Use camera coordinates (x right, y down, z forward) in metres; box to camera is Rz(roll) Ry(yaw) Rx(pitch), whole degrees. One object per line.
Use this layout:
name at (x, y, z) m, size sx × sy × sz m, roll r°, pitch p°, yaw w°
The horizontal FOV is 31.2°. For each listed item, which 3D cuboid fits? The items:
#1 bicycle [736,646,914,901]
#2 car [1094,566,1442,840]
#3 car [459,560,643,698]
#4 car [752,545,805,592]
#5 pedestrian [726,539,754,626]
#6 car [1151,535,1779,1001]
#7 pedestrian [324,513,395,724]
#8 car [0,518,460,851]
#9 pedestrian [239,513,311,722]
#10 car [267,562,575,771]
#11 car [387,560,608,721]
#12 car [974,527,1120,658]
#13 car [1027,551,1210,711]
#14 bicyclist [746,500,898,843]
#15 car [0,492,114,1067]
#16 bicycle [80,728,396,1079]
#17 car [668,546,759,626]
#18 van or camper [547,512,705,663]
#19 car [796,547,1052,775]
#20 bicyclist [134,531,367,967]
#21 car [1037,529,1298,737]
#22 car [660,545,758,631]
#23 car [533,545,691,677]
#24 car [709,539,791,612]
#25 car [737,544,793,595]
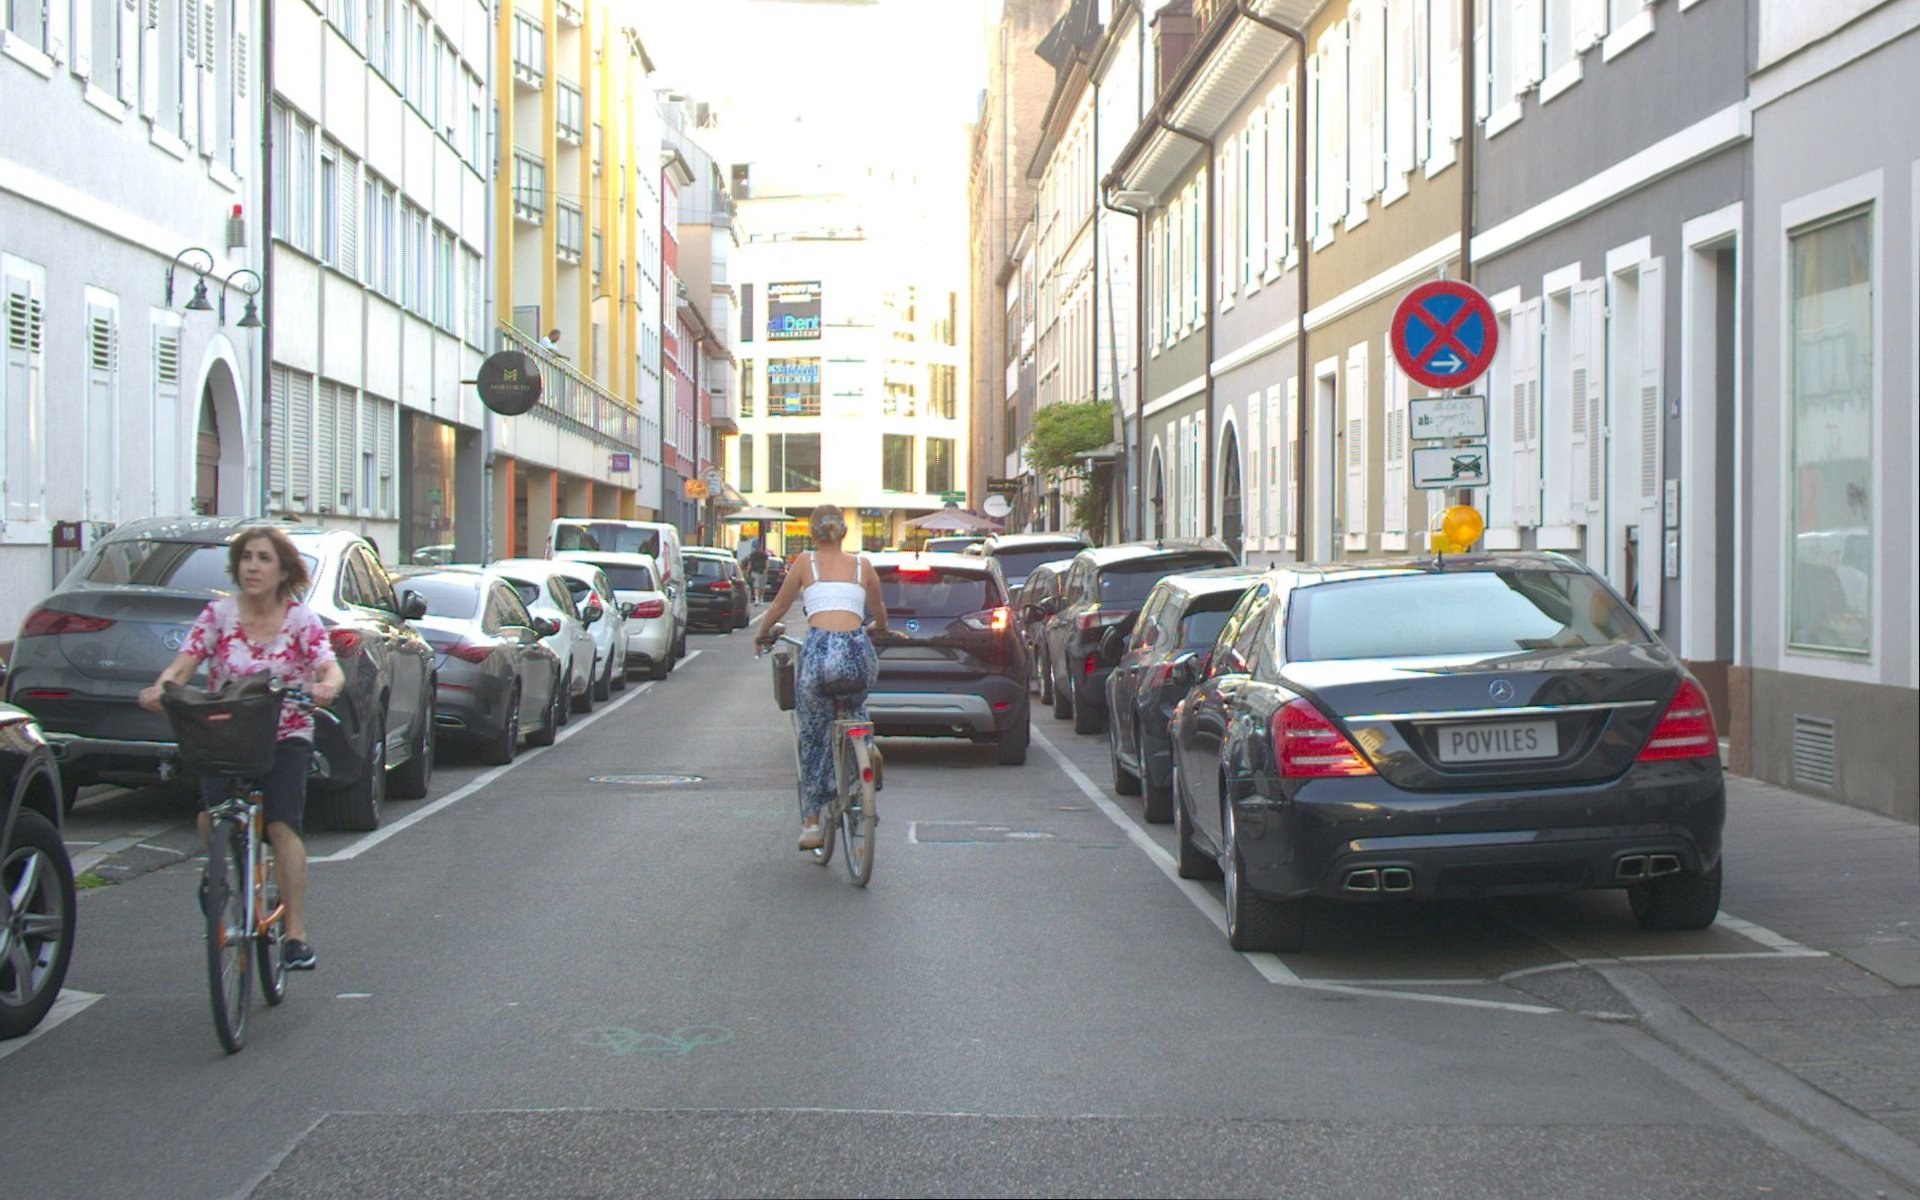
bicycle at (-0.657, 0.784, 16.200) m, size 0.613 × 1.078 × 1.810 m, roll 0°, pitch 1°, yaw -9°
car at (1.815, 0.561, 21.384) m, size 1.676 × 1.481 × 4.000 m, roll 1°, pitch 1°, yaw -1°
car at (-4.498, 0.291, 38.198) m, size 1.653 × 1.406 × 3.606 m, roll 1°, pitch 1°, yaw -1°
car at (-6.208, -1.084, 117.829) m, size 1.653 × 1.555 × 3.606 m, roll 1°, pitch 1°, yaw -1°
pedestrian at (-4.453, -0.364, 69.528) m, size 0.553 × 1.746 × 0.568 m, roll 1°, pitch 1°, yaw -4°
car at (1.903, 0.553, 14.529) m, size 1.819 × 1.525 × 5.071 m, roll -3°, pitch 1°, yaw 0°
pedestrian at (-5.775, 0.177, 33.081) m, size 0.610 × 2.007 × 0.450 m, roll 1°, pitch 1°, yaw -4°
car at (-4.187, 0.409, 20.266) m, size 1.997 × 1.701 × 4.536 m, roll 1°, pitch 1°, yaw -3°
pedestrian at (-6.616, 0.166, 33.208) m, size 0.610 × 2.007 × 0.450 m, roll 1°, pitch 1°, yaw -4°
car at (-4.107, 0.456, 26.833) m, size 1.918 × 1.429 × 4.294 m, roll 1°, pitch 1°, yaw -3°
car at (-4.389, 0.342, 33.108) m, size 1.653 × 1.406 × 3.903 m, roll 1°, pitch 1°, yaw -1°
car at (1.074, -0.119, 43.812) m, size 1.653 × 1.555 × 3.606 m, roll 1°, pitch 1°, yaw -1°
car at (1.620, 0.289, 36.235) m, size 1.653 × 1.555 × 3.606 m, roll 1°, pitch 1°, yaw -1°
bicyclist at (-0.653, 0.324, 16.086) m, size 0.620 × 1.569 × 0.684 m, roll 1°, pitch 1°, yaw -9°
car at (-3.688, 0.535, 9.092) m, size 1.803 × 1.671 × 4.490 m, roll 0°, pitch 1°, yaw 0°
bicycle at (-2.274, 0.926, 11.031) m, size 0.613 × 0.929 × 1.886 m, roll 1°, pitch 1°, yaw 0°
car at (-5.071, -0.312, 71.004) m, size 1.653 × 1.555 × 3.606 m, roll 1°, pitch 1°, yaw -1°
van or camper at (-4.707, -0.205, 49.018) m, size 1.844 × 2.006 × 4.678 m, roll 1°, pitch 1°, yaw -1°
car at (-0.324, 0.410, 26.947) m, size 1.819 × 1.612 × 4.000 m, roll 1°, pitch 1°, yaw -2°
bicyclist at (-2.286, 0.465, 11.127) m, size 0.606 × 1.365 × 0.621 m, roll 1°, pitch 1°, yaw 1°
car at (1.821, 0.249, 31.483) m, size 1.918 × 1.732 × 4.154 m, roll 1°, pitch 1°, yaw -3°
car at (-4.770, -0.258, 65.703) m, size 1.653 × 1.555 × 3.606 m, roll 1°, pitch 1°, yaw -1°
car at (-4.329, 0.108, 43.180) m, size 1.653 × 1.555 × 3.606 m, roll 1°, pitch 1°, yaw -1°
car at (-4.666, -0.560, 76.703) m, size 1.653 × 1.555 × 3.606 m, roll 1°, pitch 1°, yaw -1°
car at (-6.287, -0.993, 110.995) m, size 1.653 × 1.555 × 3.606 m, roll 1°, pitch 1°, yaw -1°
